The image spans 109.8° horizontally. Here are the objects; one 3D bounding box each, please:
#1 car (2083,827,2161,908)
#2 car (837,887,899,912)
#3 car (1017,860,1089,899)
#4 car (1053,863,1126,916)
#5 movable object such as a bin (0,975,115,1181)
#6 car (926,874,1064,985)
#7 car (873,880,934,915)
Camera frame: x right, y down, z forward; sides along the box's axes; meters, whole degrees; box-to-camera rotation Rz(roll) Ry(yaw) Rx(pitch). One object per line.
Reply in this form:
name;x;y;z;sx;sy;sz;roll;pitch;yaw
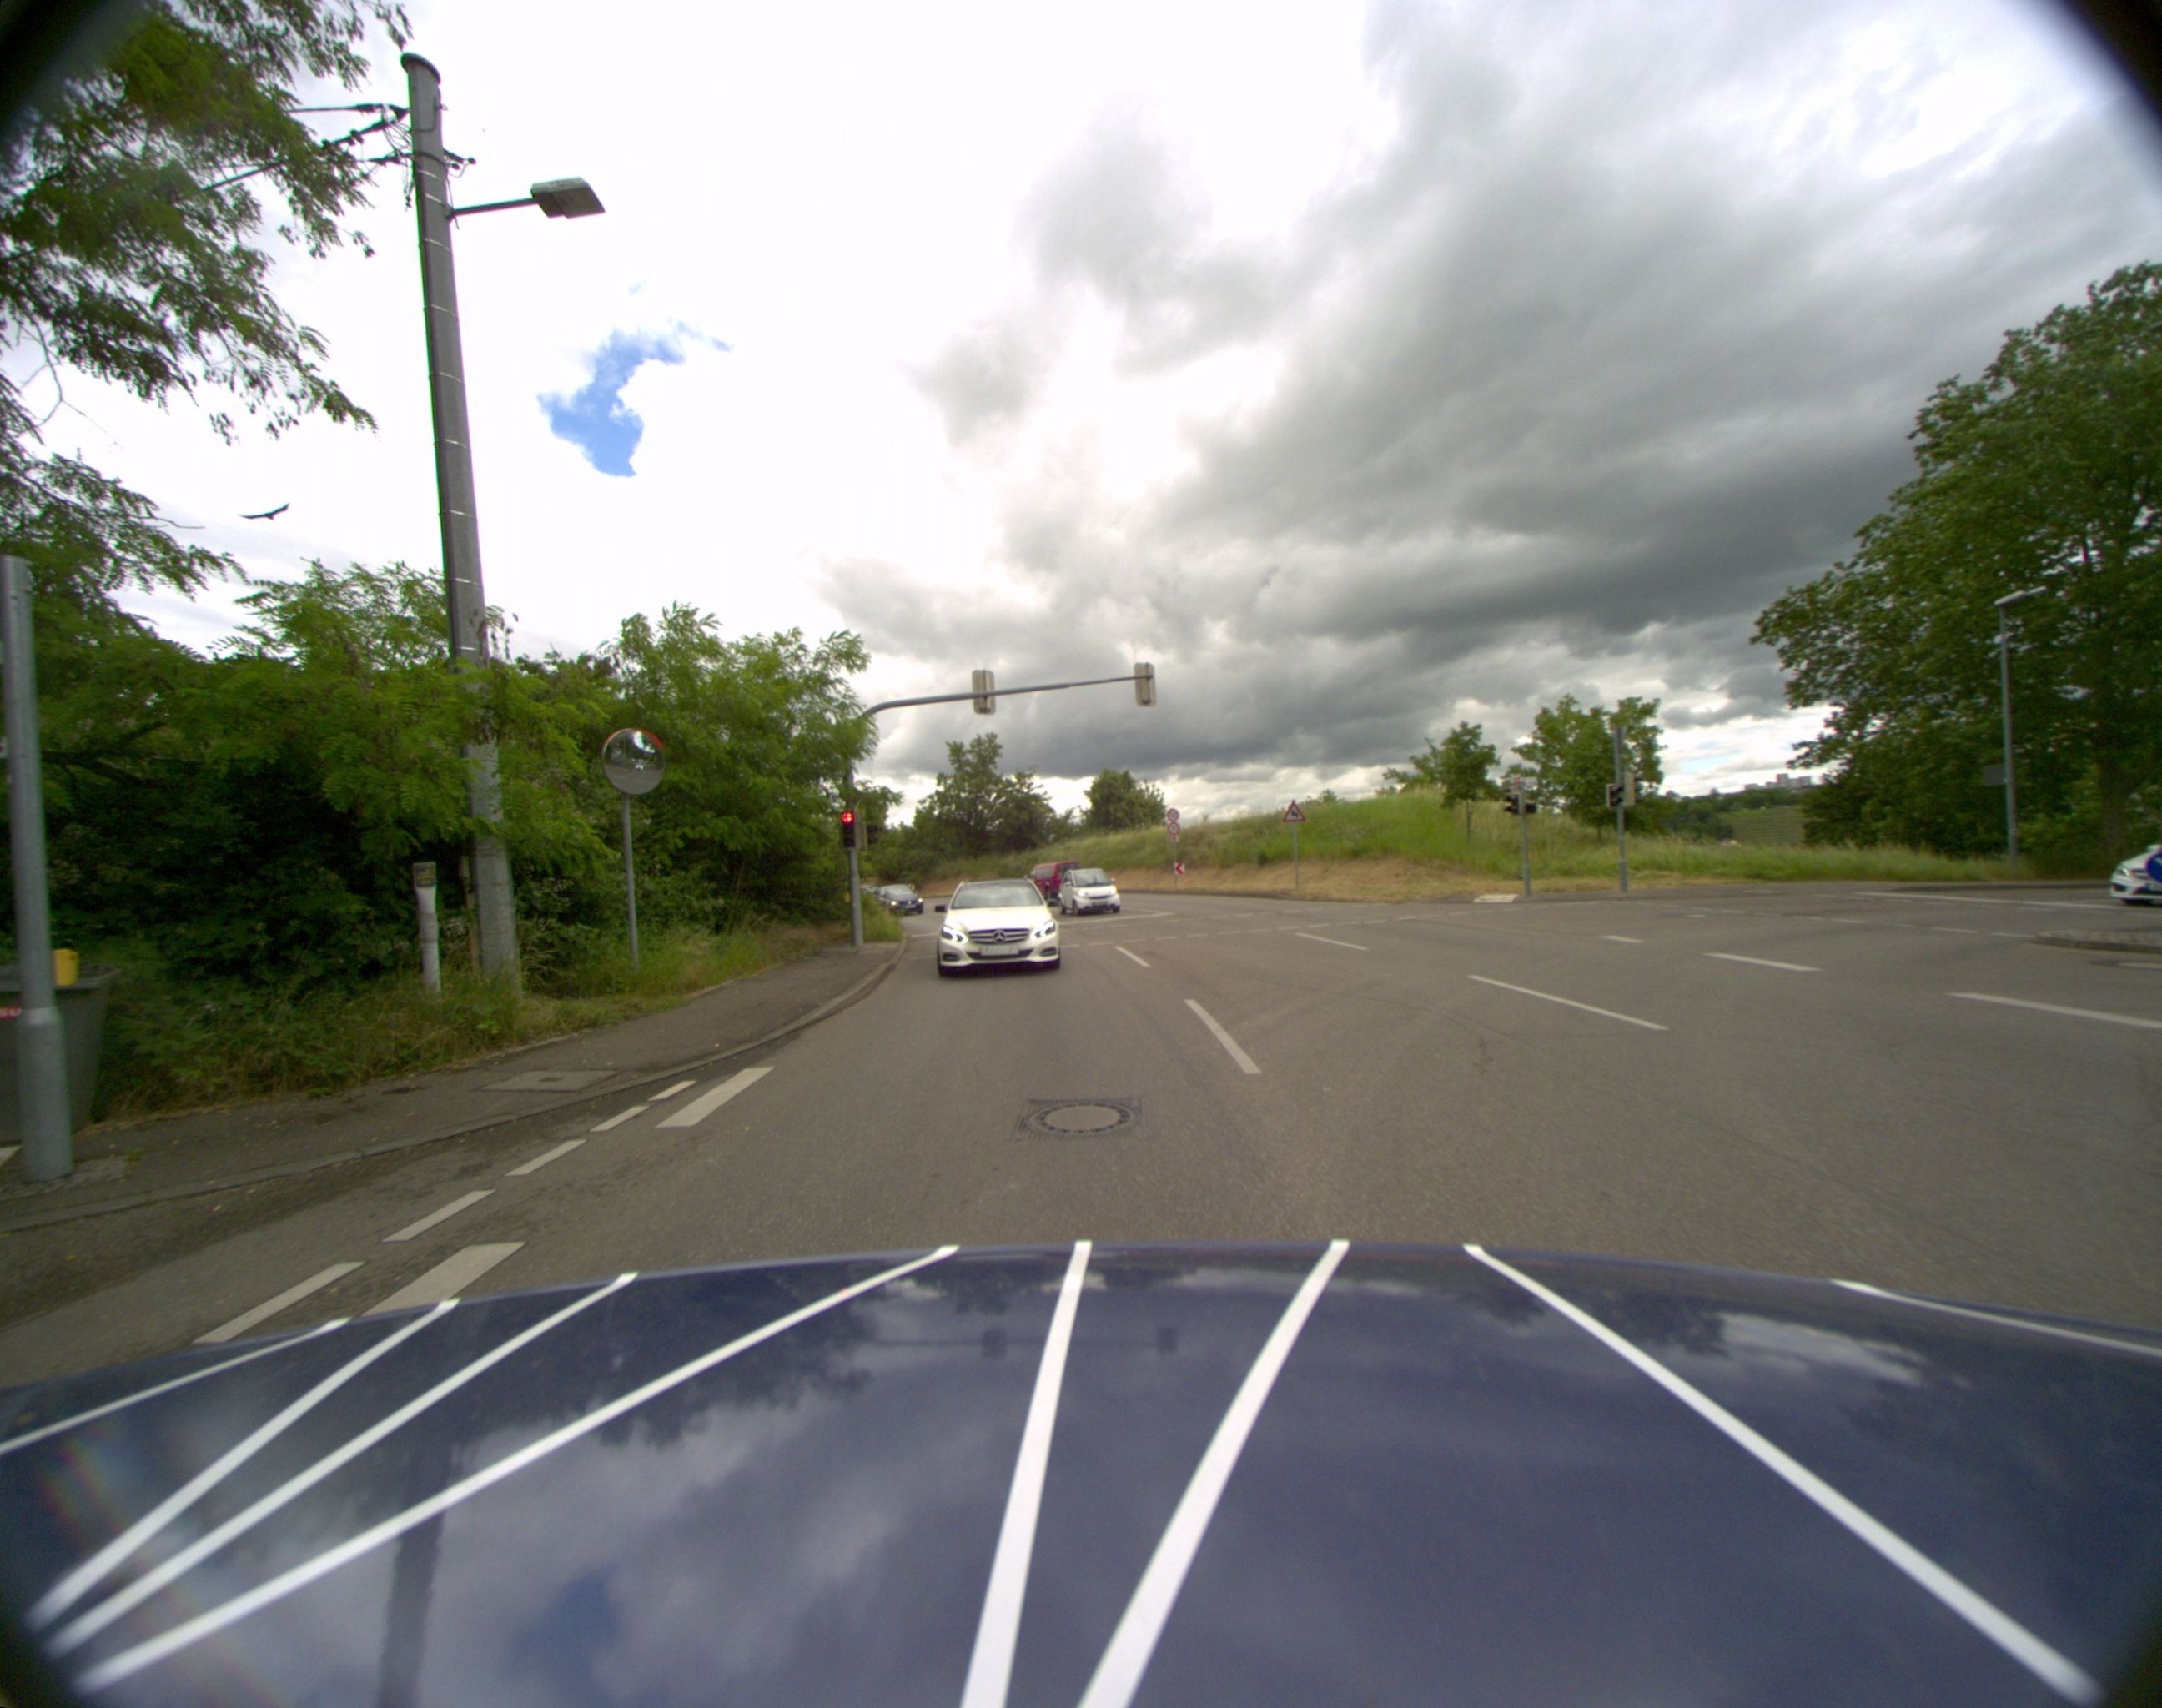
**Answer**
car;20.738;0.161;13.410;4.420;1.331;1.998;-3;1;-12
car;-15.720;3.356;56.055;4.411;1.412;1.773;-6;0;33
car;-1.502;1.280;38.815;1.696;1.815;4.716;-3;0;-28
car;0.237;1.148;25.817;1.581;1.548;3.013;-6;1;-15
movable object such as a bin;-6.514;1.364;4.672;0.576;1.109;0.643;-3;0;-42
car;-1.276;1.138;12.936;1.887;1.414;4.000;-3;0;-1
car;-9.053;2.167;38.544;1.827;1.535;3.718;-3;0;-31
